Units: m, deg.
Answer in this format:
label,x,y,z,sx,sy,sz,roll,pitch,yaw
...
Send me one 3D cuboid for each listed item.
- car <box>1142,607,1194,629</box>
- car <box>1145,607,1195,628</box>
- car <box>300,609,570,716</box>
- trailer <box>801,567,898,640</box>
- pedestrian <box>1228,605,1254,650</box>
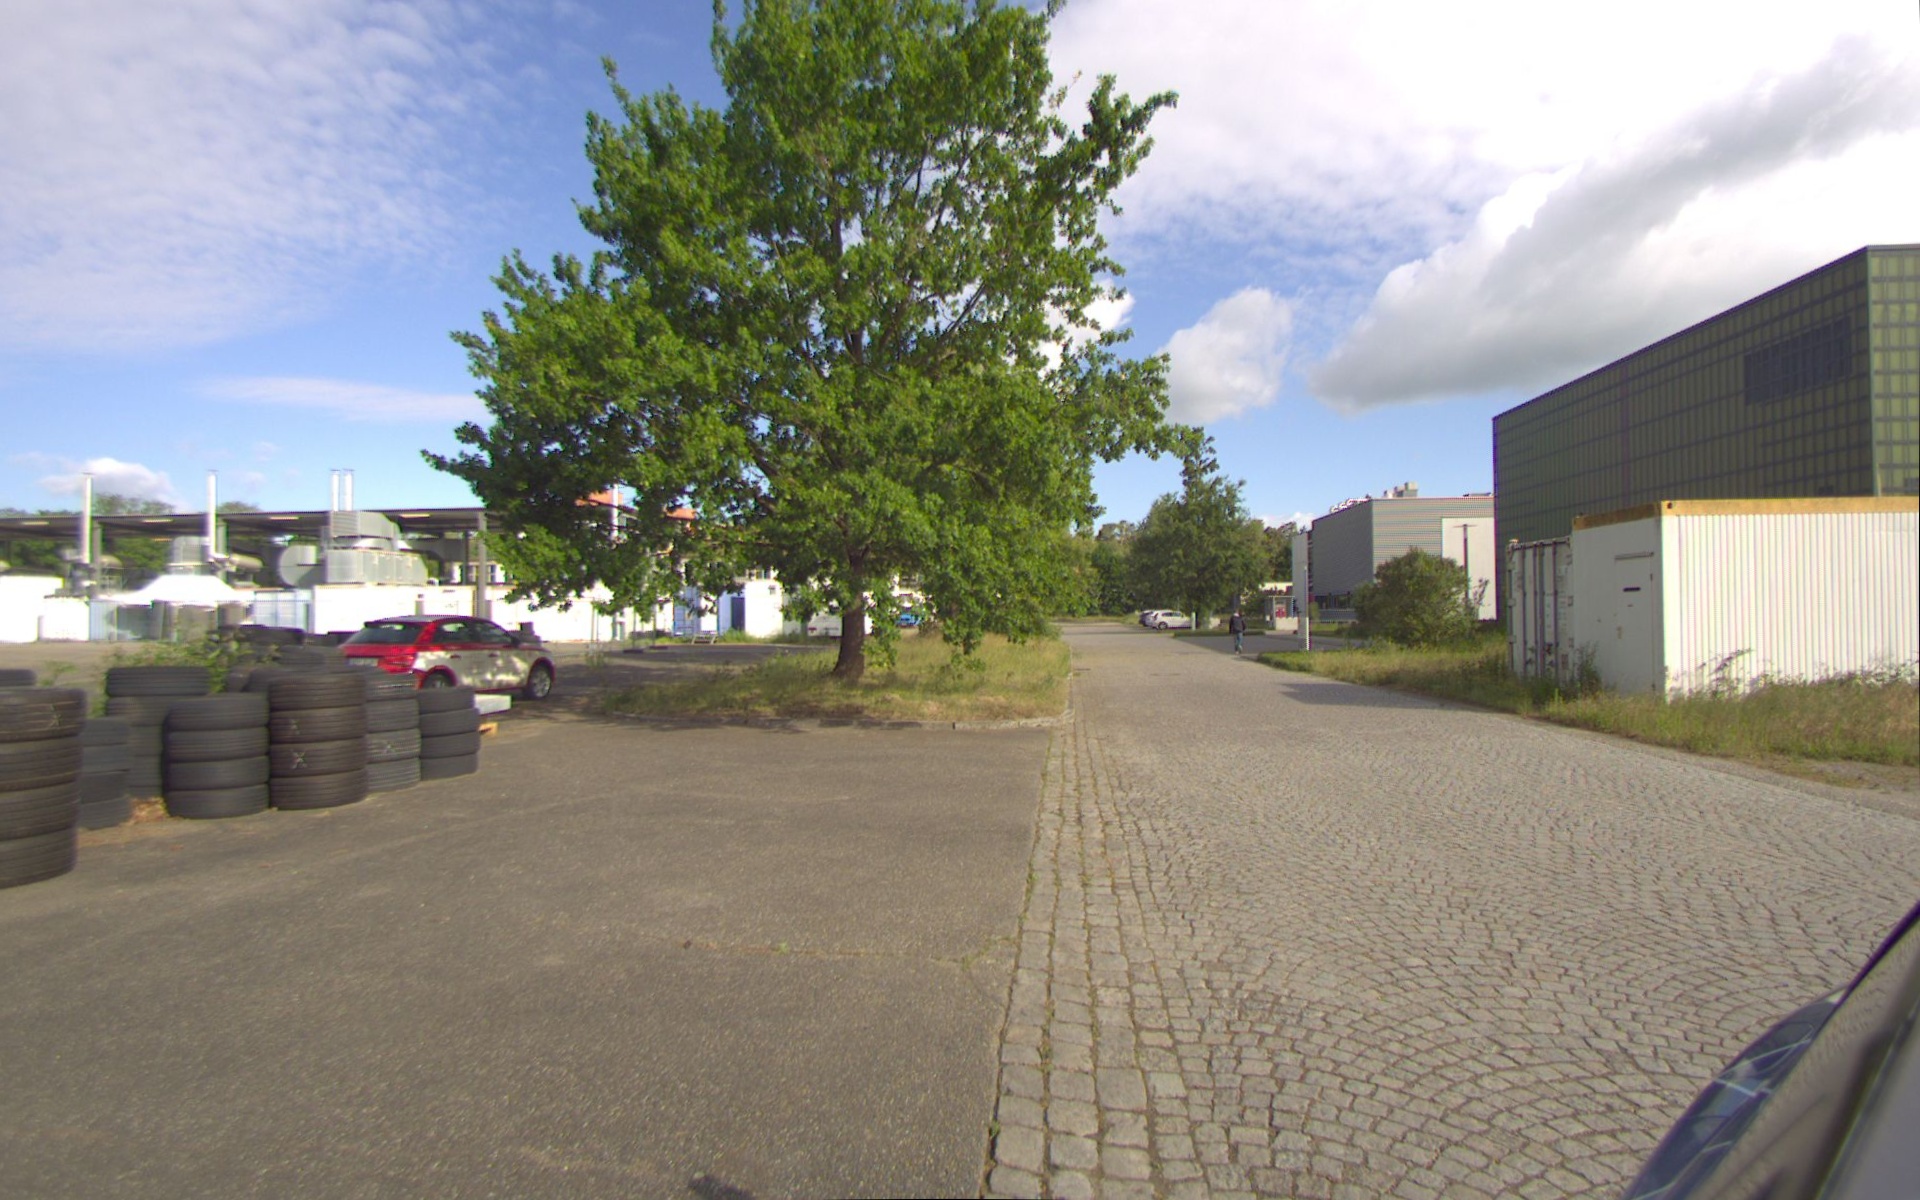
label,x,y,z,sx,sy,sz,roll,pitch,yaw
car,16.317,1.412,79.332,3.938,1.664,1.992,-1,-1,12
car,17.006,1.418,81.959,3.938,1.664,1.992,-1,-1,12
car,-8.187,0.896,16.233,1.702,1.483,3.984,-1,-1,13
trailer,-5.713,0.223,54.245,2.877,3.515,9.877,-1,-1,8
pedestrian,10.078,0.983,36.337,0.856,1.579,1.022,-1,-1,17
